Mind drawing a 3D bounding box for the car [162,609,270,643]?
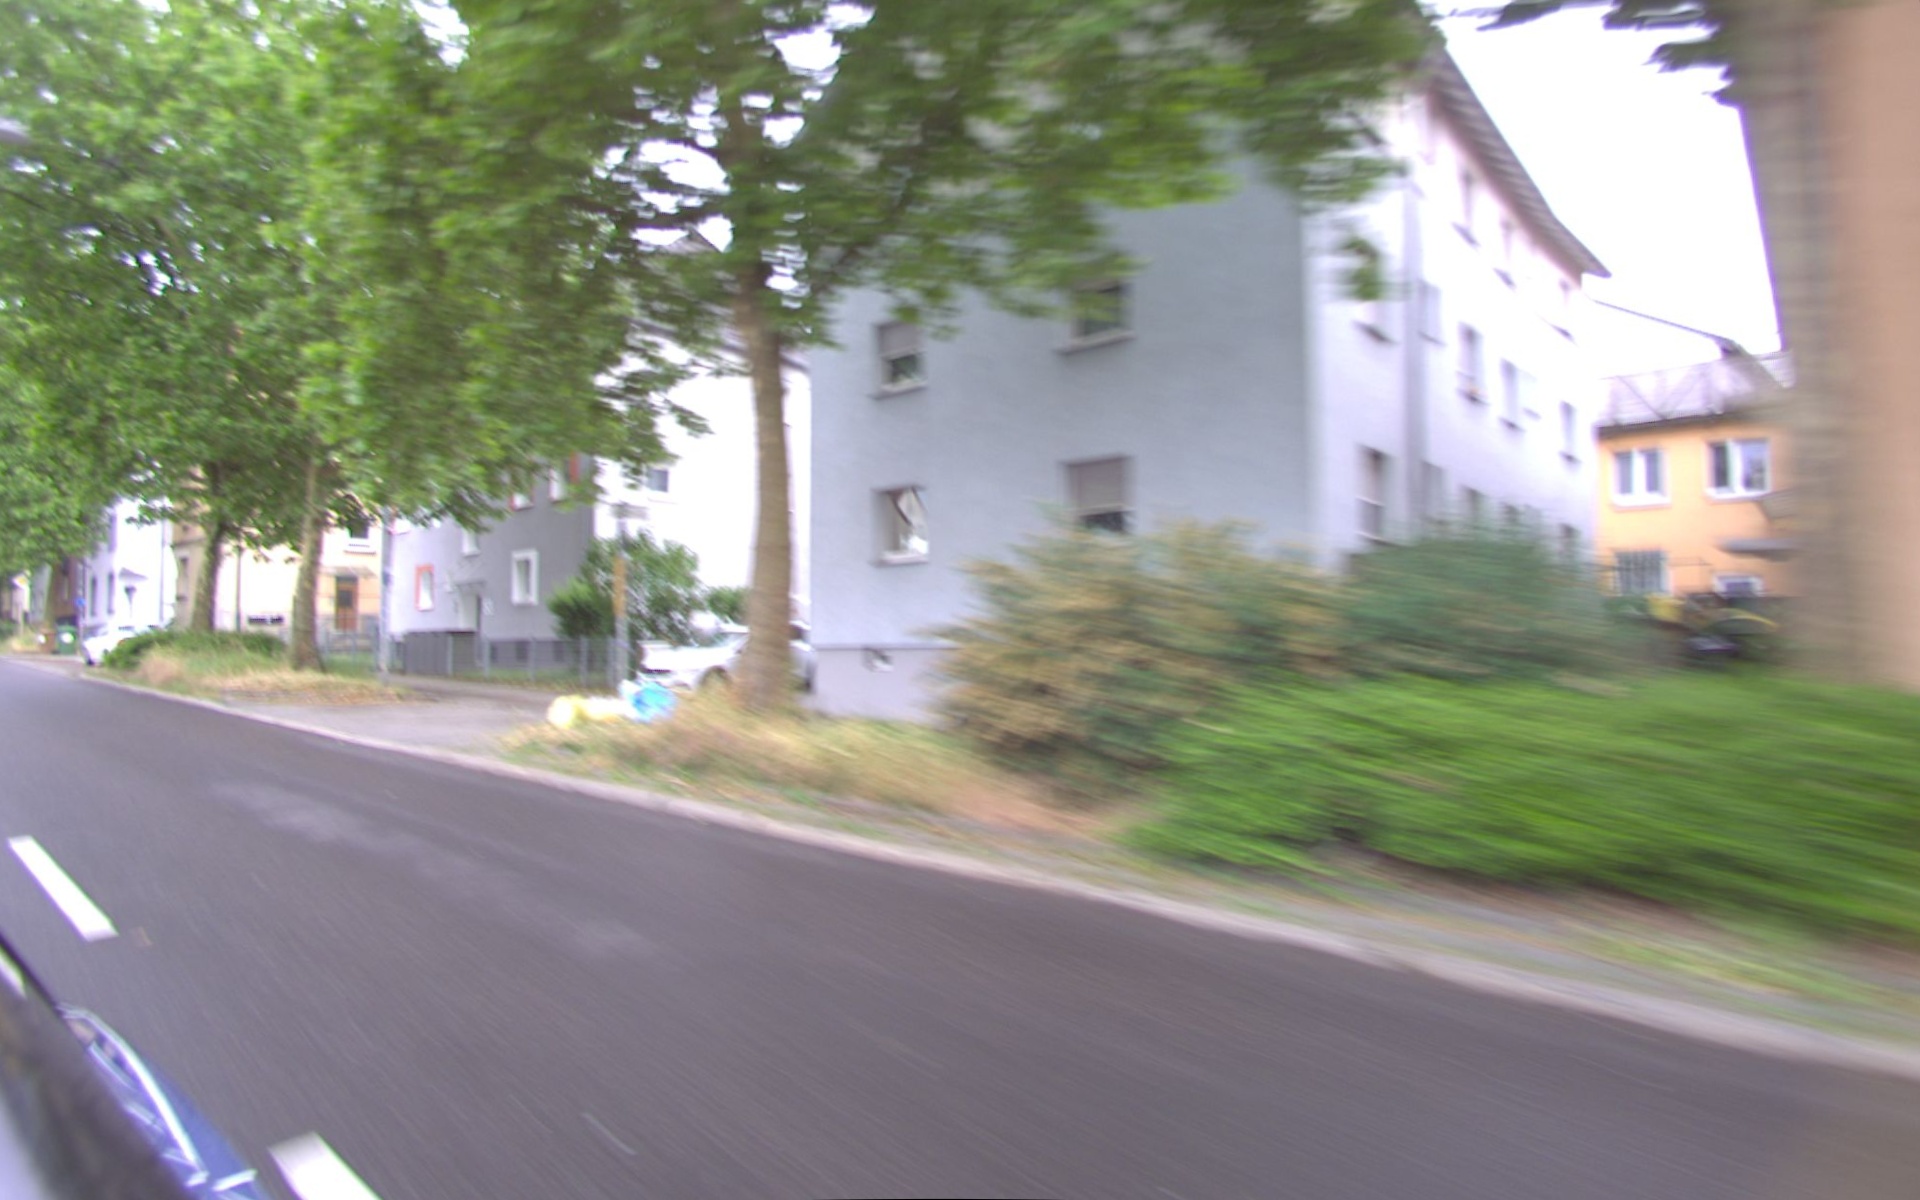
[{"bbox_3d":[-42.201,1.447,57.491,2.019,1.791,4.622,-1,0,41],"label":"car"}]

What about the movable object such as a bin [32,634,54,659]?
[{"bbox_3d":[-34.396,1.751,37.961,0.581,0.935,0.506,0,-2,41],"label":"movable object such as a bin"}]

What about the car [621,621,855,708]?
[{"bbox_3d":[-4.539,1.248,21.242,1.869,1.488,4.614,0,0,41],"label":"car"}]

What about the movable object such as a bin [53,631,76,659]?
[{"bbox_3d":[-34.031,1.711,38.463,0.762,1.065,0.529,0,-2,41],"label":"movable object such as a bin"}]

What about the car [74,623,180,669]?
[{"bbox_3d":[-27.091,1.446,32.862,4.533,1.336,1.738,-1,-1,38],"label":"car"}]

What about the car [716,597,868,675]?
[{"bbox_3d":[-4.671,0.899,27.609,1.862,1.934,4.557,-1,0,-44],"label":"car"}]
